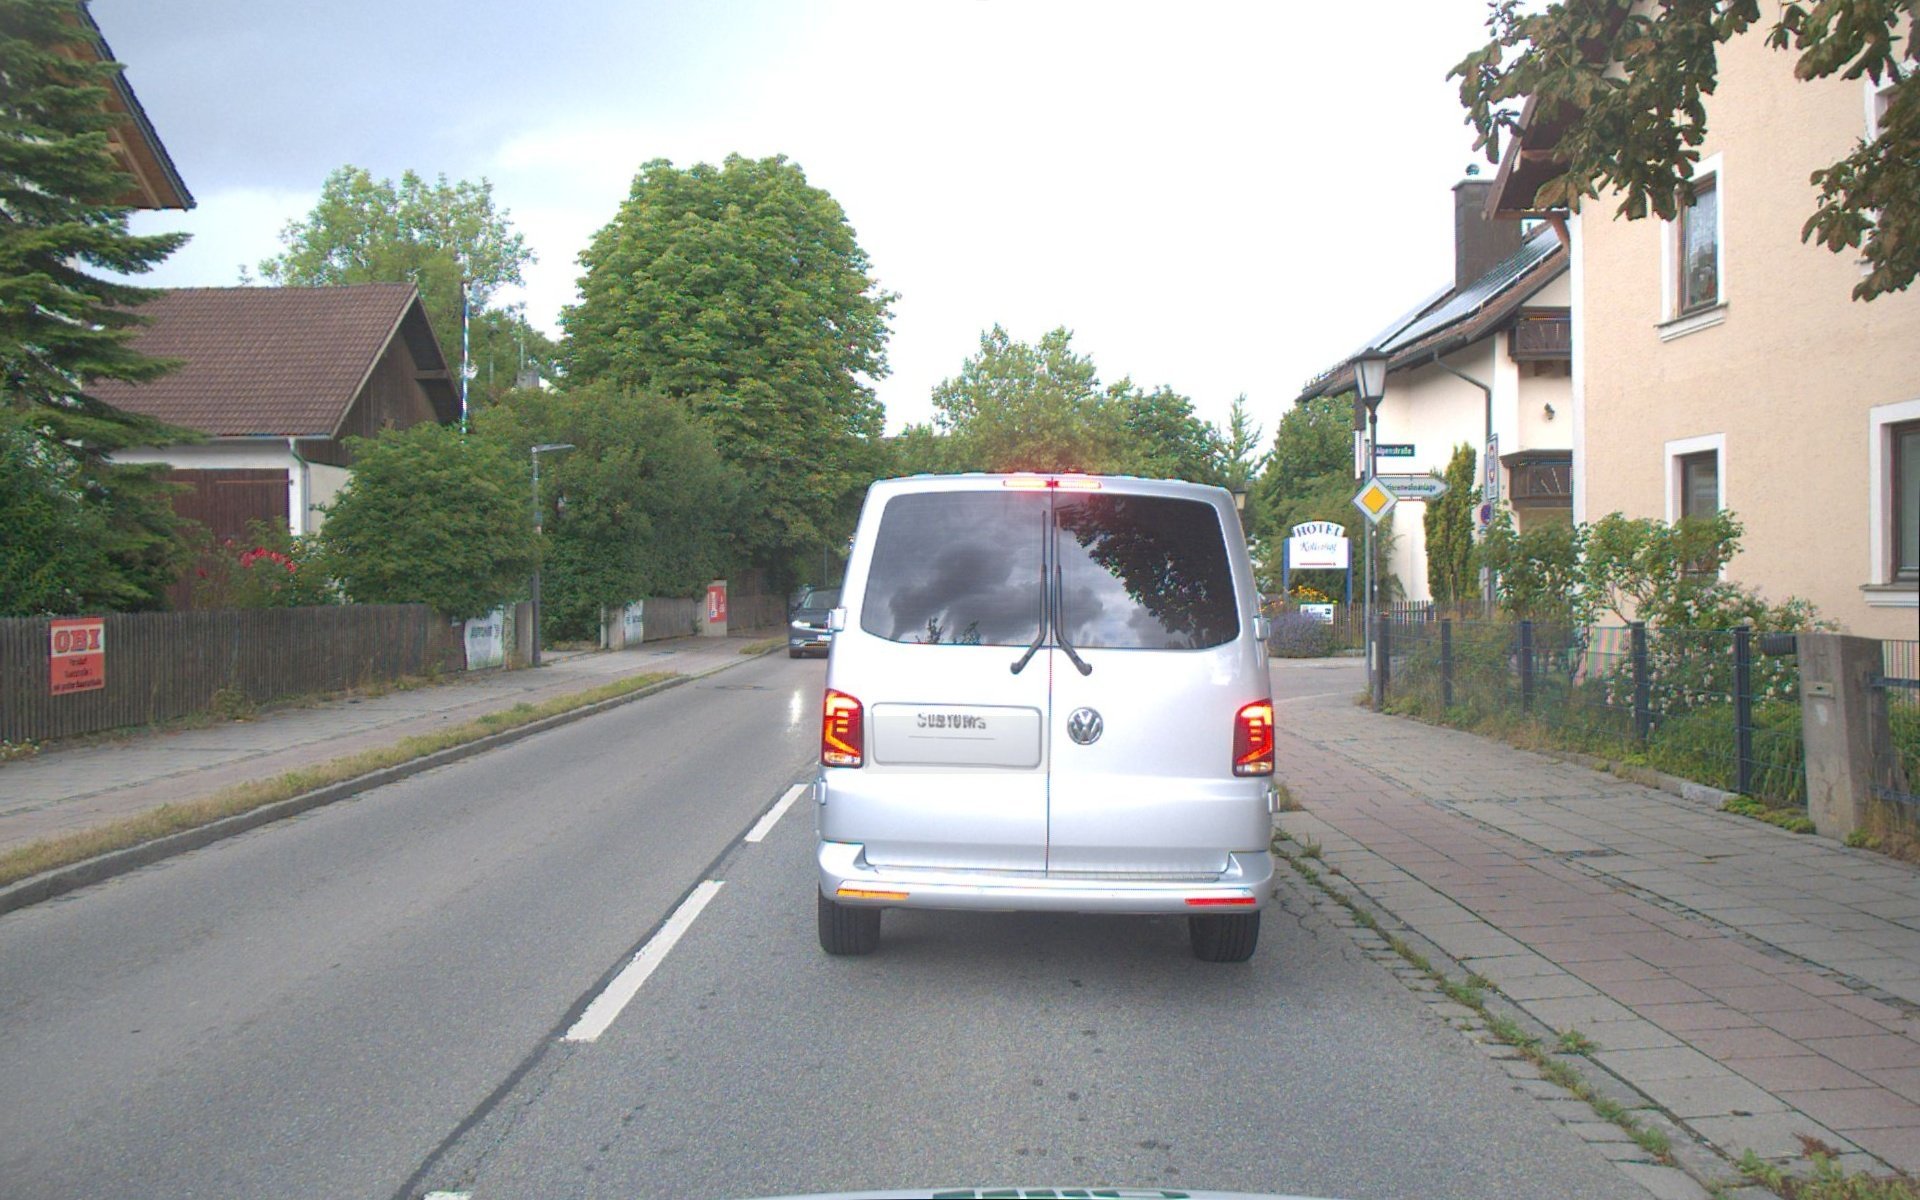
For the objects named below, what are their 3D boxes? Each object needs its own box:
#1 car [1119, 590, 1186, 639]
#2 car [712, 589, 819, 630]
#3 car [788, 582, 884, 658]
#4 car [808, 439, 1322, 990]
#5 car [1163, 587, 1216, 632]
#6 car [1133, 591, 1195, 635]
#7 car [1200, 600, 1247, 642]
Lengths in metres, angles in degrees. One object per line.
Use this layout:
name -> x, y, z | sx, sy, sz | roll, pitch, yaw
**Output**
car -> 6.339, 0.450, 54.203 | 1.841, 1.562, 3.924 | 0, 0, 11
car -> -7.285, 0.356, 61.826 | 3.912, 1.512, 1.996 | 0, 0, -9
car -> -2.778, 0.428, 37.799 | 1.891, 1.602, 4.311 | 1, 0, -1
car -> 0.390, 0.402, 7.915 | 1.842, 1.974, 3.921 | 0, 0, 0
car -> 9.360, 0.369, 67.127 | 1.841, 1.779, 4.084 | 0, 0, 12
car -> 7.443, 0.447, 60.077 | 1.841, 1.562, 3.924 | 0, 0, 13
car -> 12.090, 0.923, 75.673 | 1.841, 1.857, 3.924 | 0, 0, 13
